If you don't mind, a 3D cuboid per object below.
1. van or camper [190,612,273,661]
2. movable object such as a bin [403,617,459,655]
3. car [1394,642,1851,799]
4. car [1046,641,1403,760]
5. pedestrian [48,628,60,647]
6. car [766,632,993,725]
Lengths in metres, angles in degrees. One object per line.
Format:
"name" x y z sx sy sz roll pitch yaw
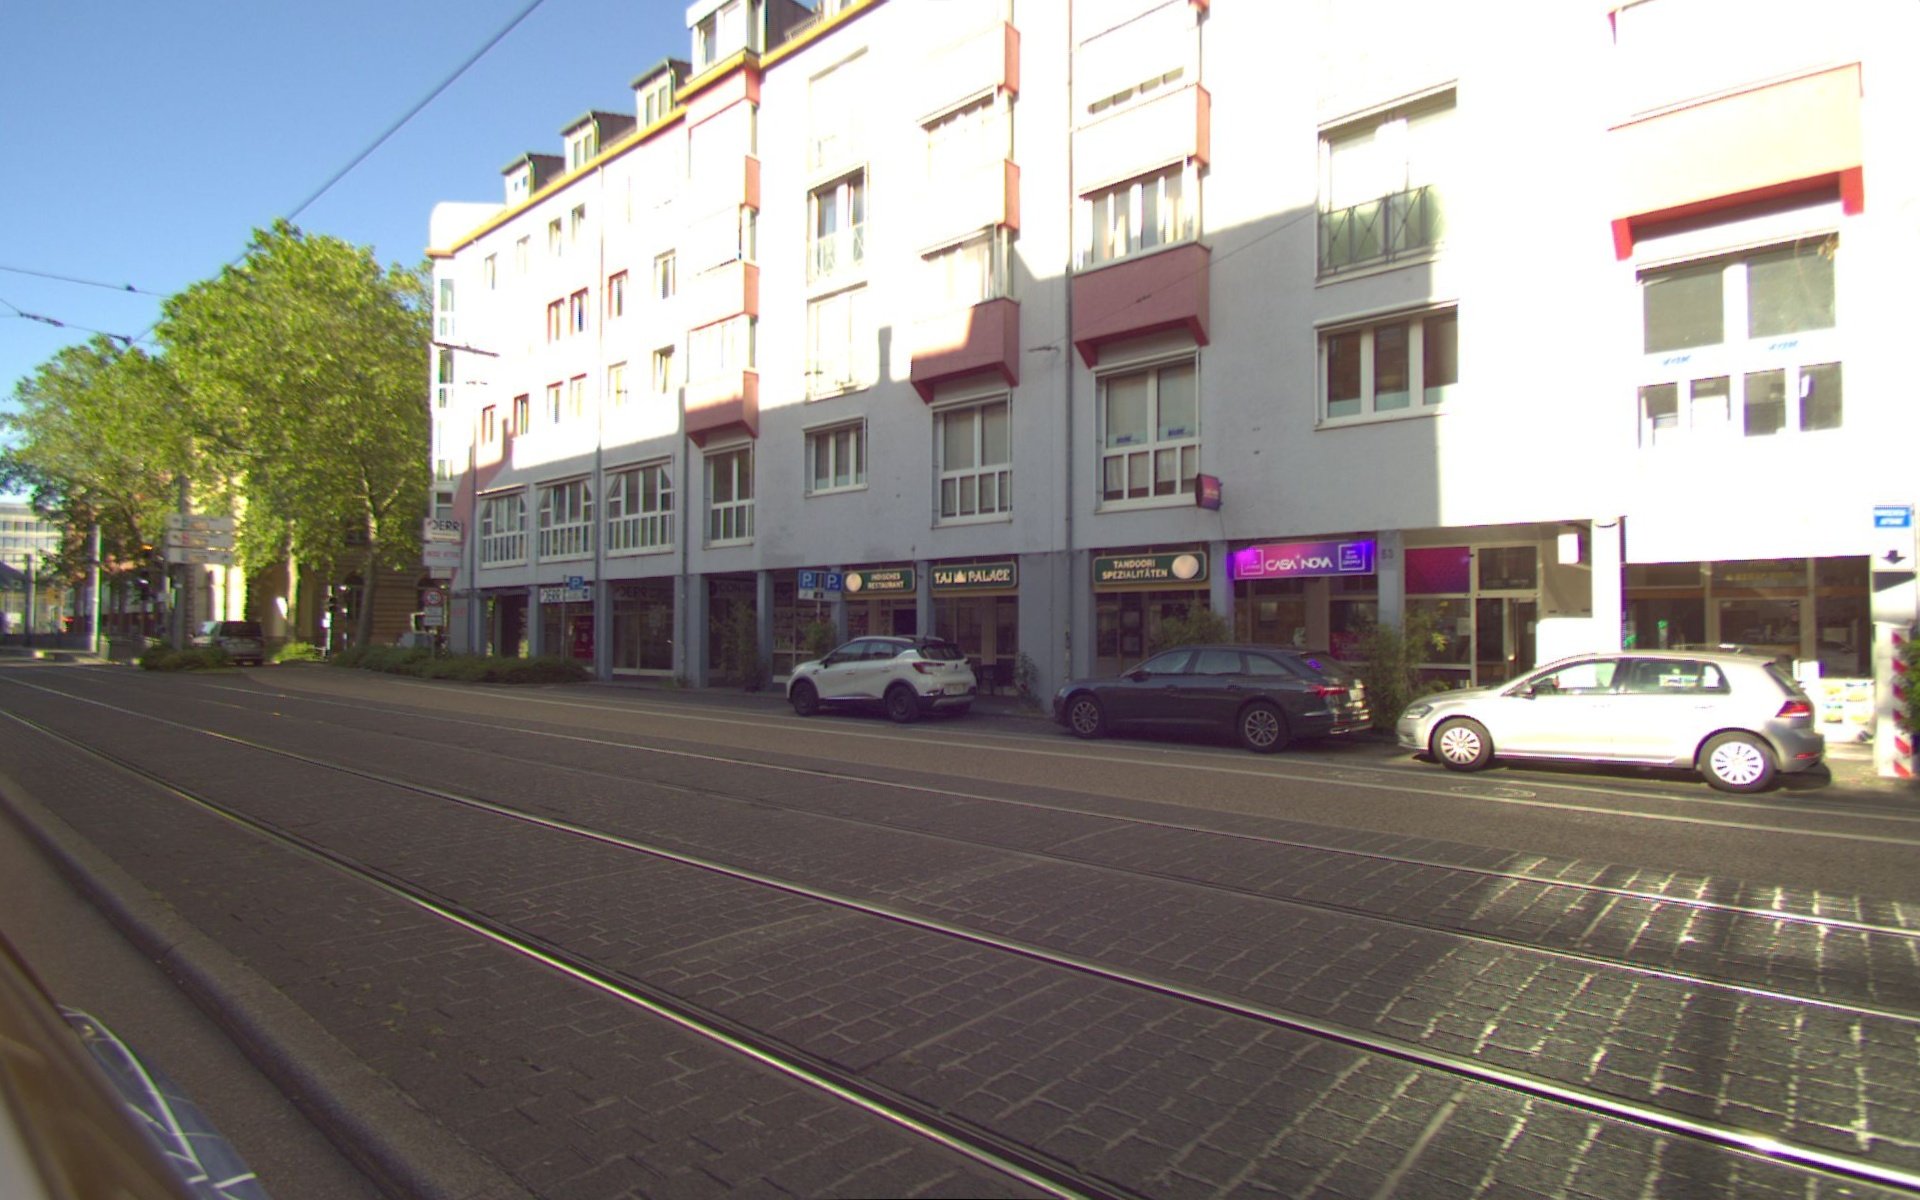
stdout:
"van or camper" -31.475 1.599 43.653 4.835 1.955 1.971 -2 -5 44
"movable object such as a bin" -28.722 1.977 55.030 2.604 2.029 1.179 1 -2 -25
"car" 7.517 1.247 11.824 4.202 1.486 1.734 -1 -2 38
"car" 3.796 1.357 15.104 4.823 1.469 1.882 -2 -2 41
"pedestrian" -92.589 3.876 103.403 0.665 1.931 0.781 -2 -3 39
"car" -1.656 1.450 19.969 4.364 1.626 1.899 -1 -2 39
